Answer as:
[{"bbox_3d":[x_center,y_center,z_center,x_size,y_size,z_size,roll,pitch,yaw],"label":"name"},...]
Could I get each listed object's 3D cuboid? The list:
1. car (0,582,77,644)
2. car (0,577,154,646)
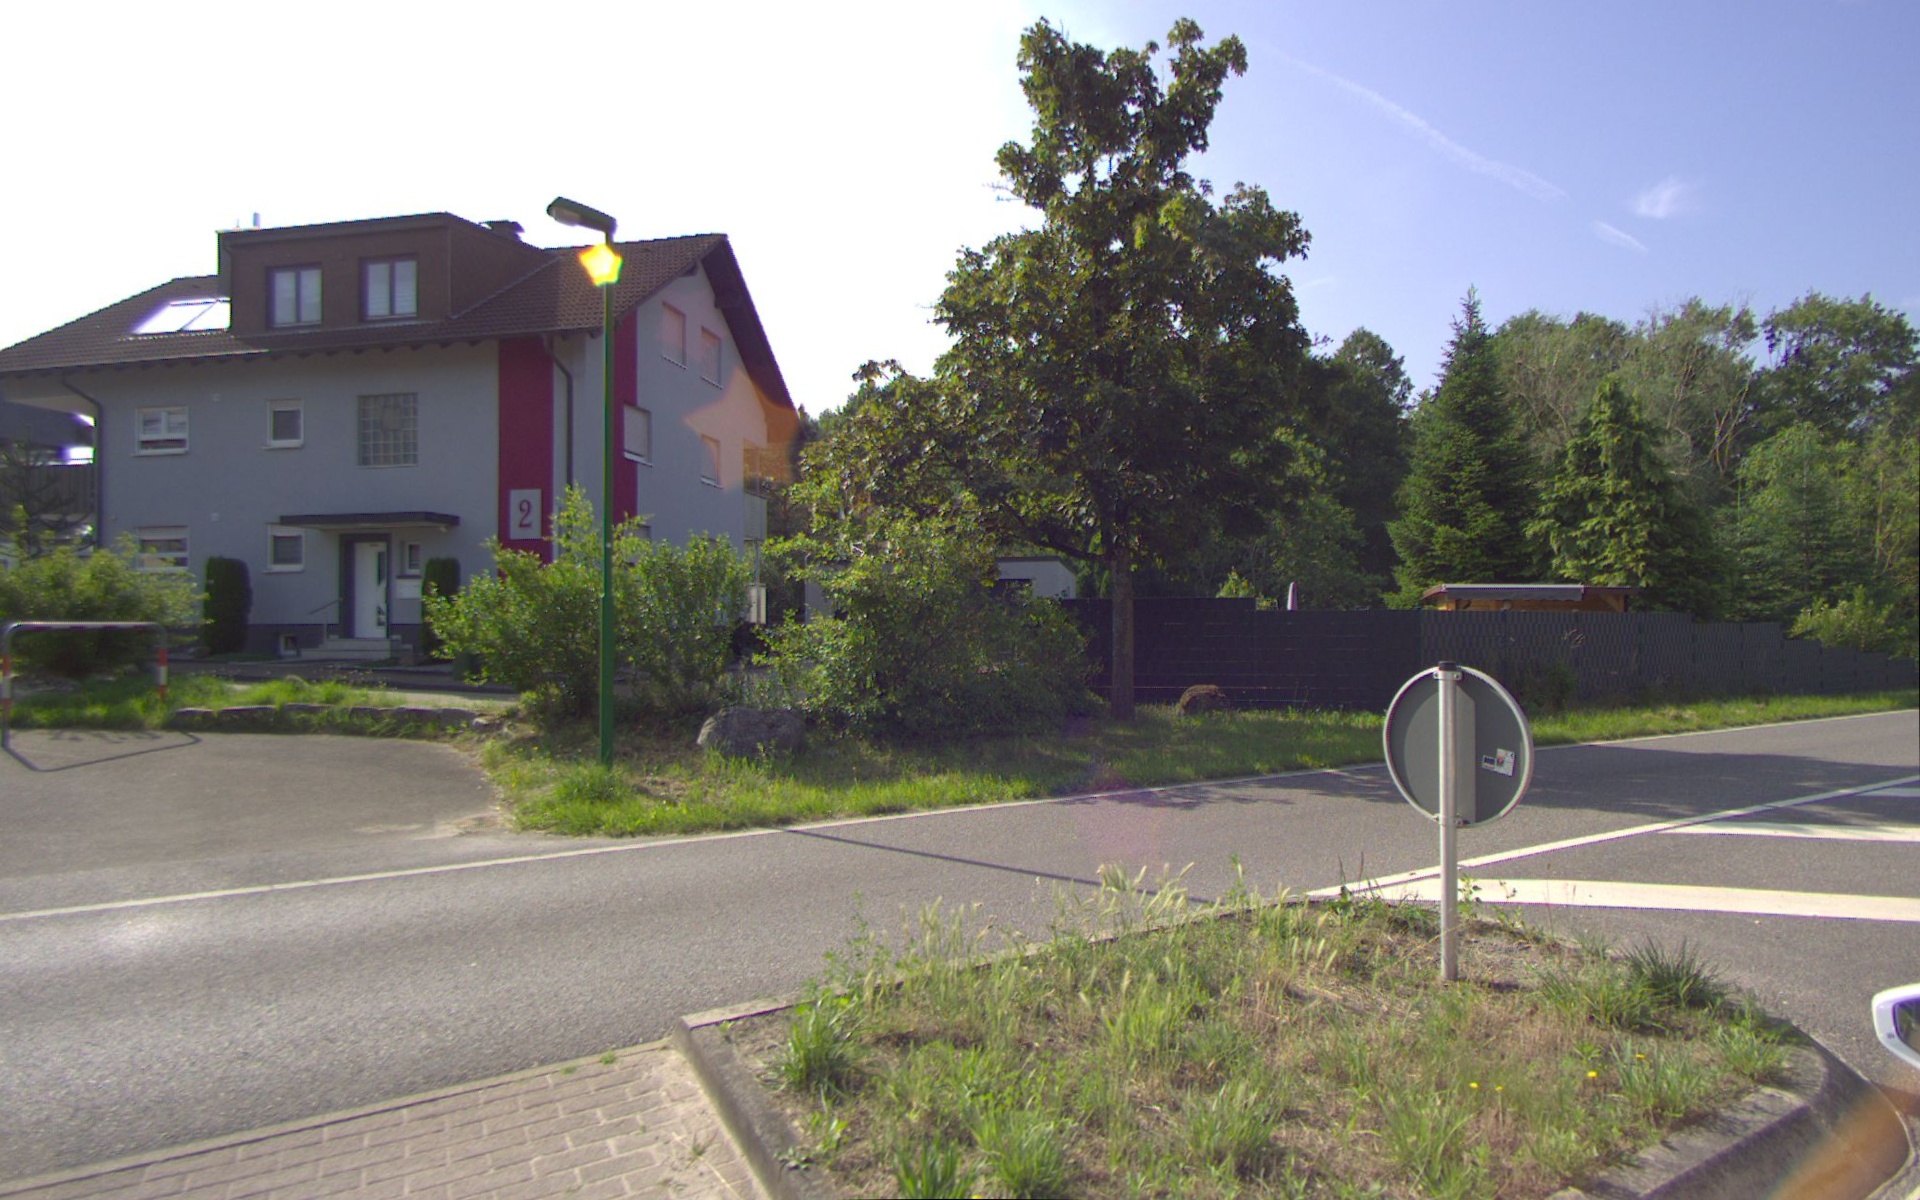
[{"bbox_3d":[-23.441,0.295,23.259,1.832,1.467,4.139,0,-1,18],"label":"car"},{"bbox_3d":[-20.943,0.271,22.811,1.713,1.482,3.772,0,-1,18],"label":"car"}]
